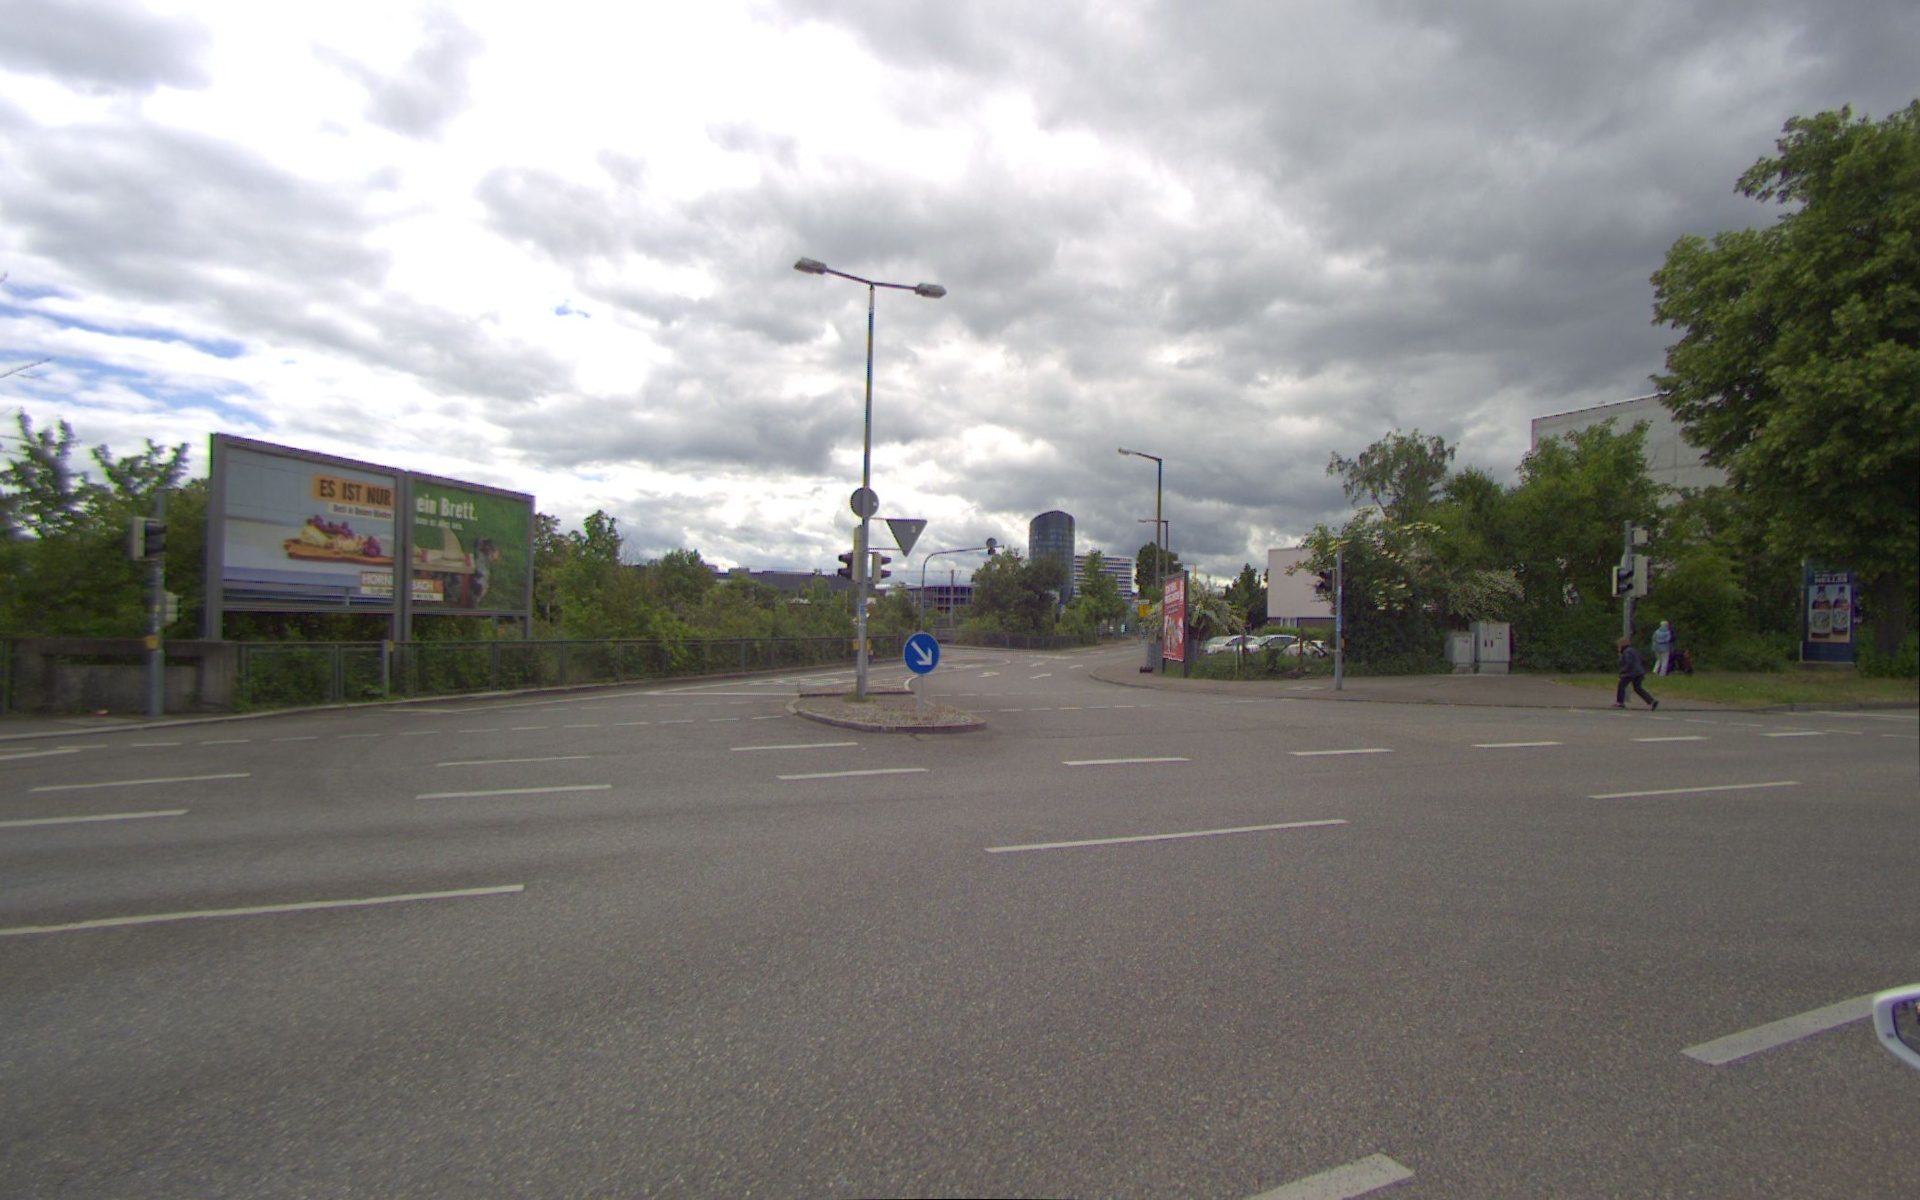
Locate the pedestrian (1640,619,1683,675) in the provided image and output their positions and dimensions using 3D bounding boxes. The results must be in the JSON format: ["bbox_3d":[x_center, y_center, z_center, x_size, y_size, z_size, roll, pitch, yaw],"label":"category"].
[{"bbox_3d":[19.587,1.313,28.051,0.912,1.542,0.652,1,-1,-29],"label":"pedestrian"}]

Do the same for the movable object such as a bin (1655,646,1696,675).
[{"bbox_3d":[20.238,1.699,28.412,0.886,0.808,0.652,1,-2,-29],"label":"movable object such as a bin"}]

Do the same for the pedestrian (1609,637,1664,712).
[{"bbox_3d":[13.725,1.491,20.392,0.595,1.426,0.767,-1,2,-39],"label":"pedestrian"}]

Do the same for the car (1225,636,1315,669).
[{"bbox_3d":[15.462,2.627,50.194,3.930,1.574,1.798,1,-1,-12],"label":"car"}]

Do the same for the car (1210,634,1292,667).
[{"bbox_3d":[15.863,2.757,54.806,3.930,1.741,1.798,1,-1,-12],"label":"car"}]
